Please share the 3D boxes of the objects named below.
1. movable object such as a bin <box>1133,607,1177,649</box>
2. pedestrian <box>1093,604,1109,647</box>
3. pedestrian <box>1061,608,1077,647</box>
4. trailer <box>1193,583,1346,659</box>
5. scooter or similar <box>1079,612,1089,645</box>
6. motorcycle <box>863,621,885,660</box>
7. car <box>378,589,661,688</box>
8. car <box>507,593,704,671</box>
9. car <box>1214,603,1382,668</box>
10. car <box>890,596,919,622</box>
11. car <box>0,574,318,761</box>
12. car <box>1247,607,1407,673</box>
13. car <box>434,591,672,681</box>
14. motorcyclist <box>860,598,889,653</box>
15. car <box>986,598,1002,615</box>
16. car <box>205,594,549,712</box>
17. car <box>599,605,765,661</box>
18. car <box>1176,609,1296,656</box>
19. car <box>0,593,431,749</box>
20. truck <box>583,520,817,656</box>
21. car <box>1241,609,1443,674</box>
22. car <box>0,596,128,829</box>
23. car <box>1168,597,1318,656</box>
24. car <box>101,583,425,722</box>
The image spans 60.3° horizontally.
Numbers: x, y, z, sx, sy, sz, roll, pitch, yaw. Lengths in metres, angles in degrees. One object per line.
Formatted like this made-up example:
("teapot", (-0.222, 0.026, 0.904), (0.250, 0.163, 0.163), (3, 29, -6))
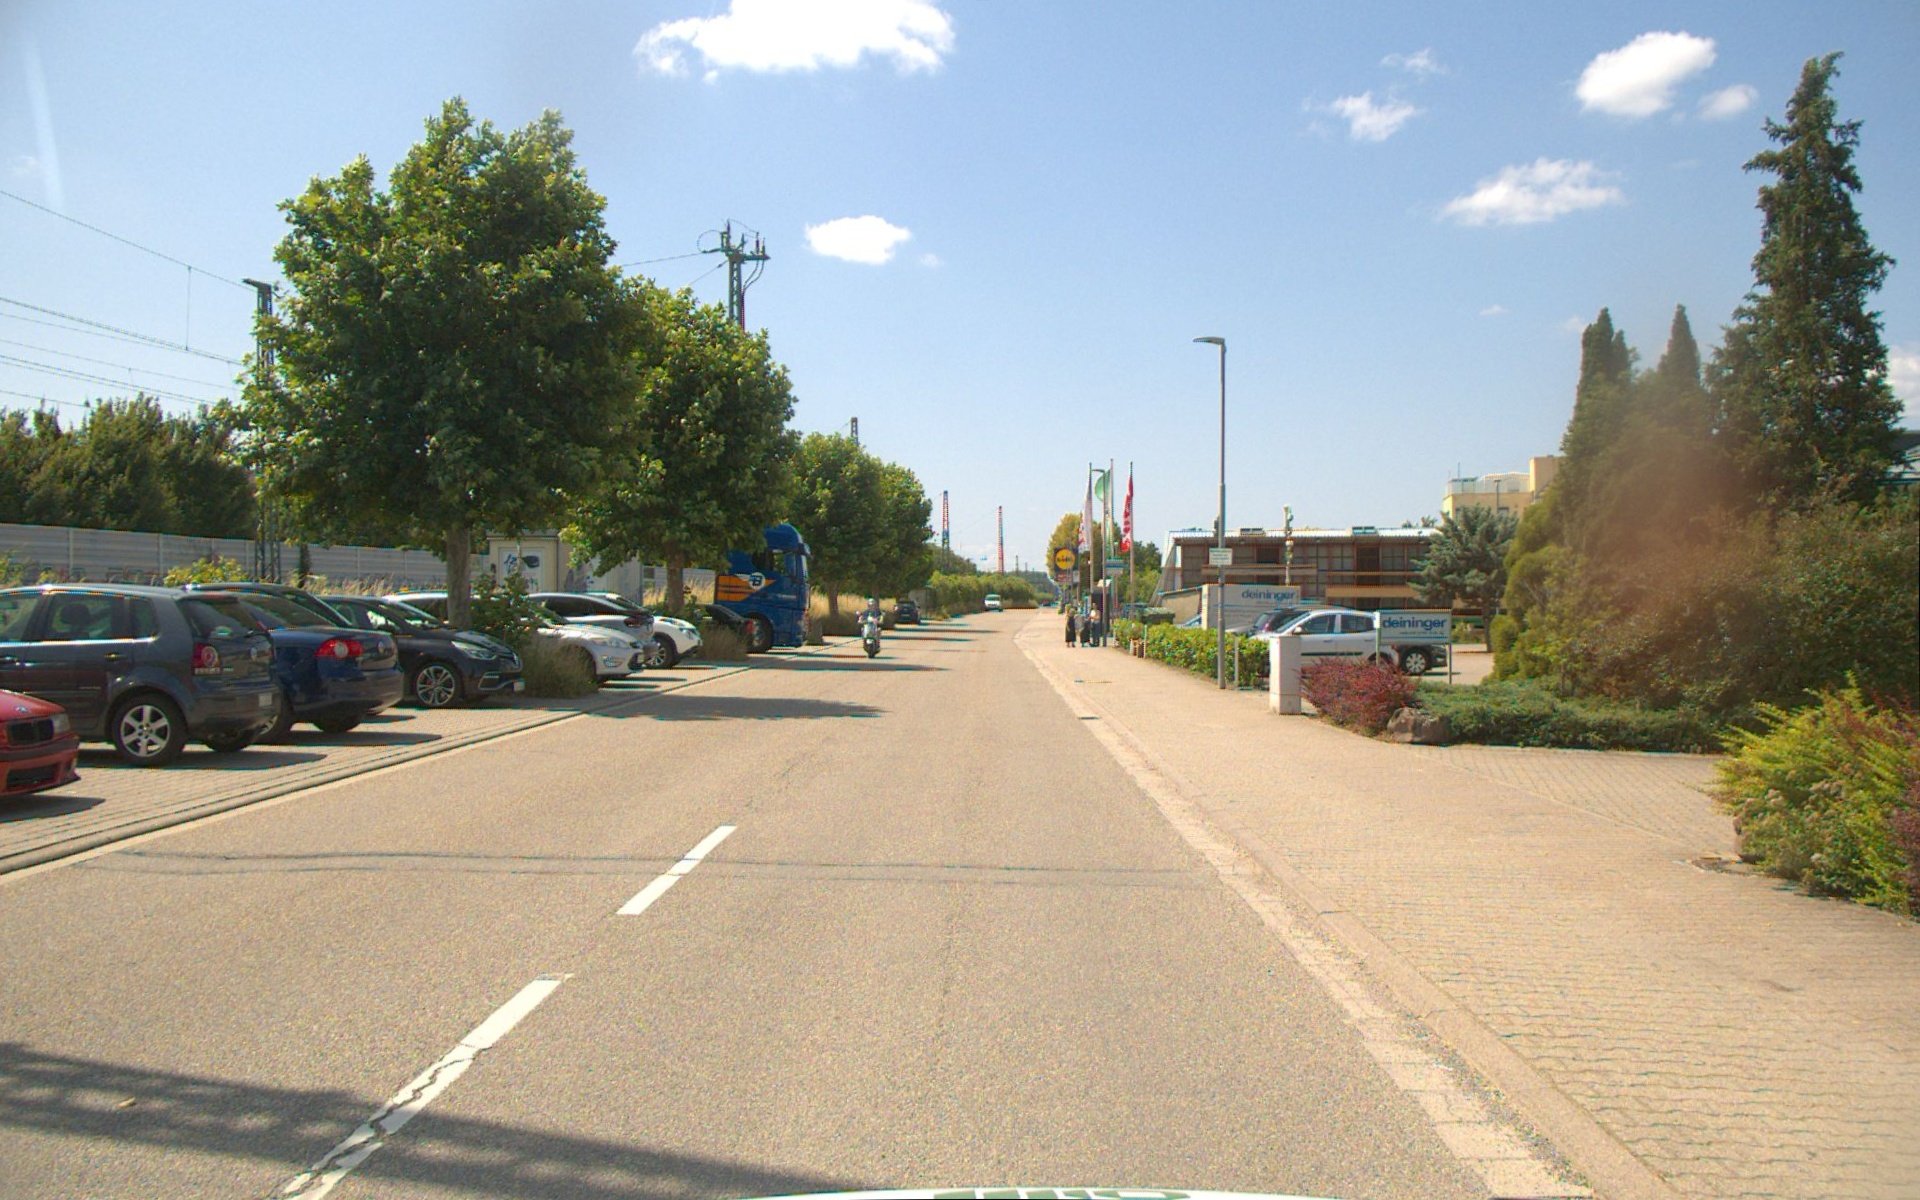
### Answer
("movable object such as a bin", (7.211, 1.032, 61.108), (1.253, 1.484, 1.036), (2, 0, -36))
("pedestrian", (5.220, 0.961, 61.288), (0.524, 1.567, 0.510), (-1, -2, 0))
("pedestrian", (4.046, 1.021, 61.470), (0.553, 1.430, 0.584), (-1, -2, 0))
("trailer", (8.528, 0.578, 45.822), (3.904, 2.049, 2.000), (0, 0, 1))
("scooter or similar", (4.597, 1.053, 61.454), (0.327, 1.219, 0.398), (-1, -2, 2))
("motorcycle", (-2.441, 1.138, 47.036), (0.453, 1.069, 1.955), (1, -1, 2))
("car", (-7.396, 0.631, 28.063), (4.248, 1.560, 1.926), (1, 0, 1))
("car", (-7.635, 0.676, 35.889), (3.890, 1.646, 1.850), (0, 0, -2))
("car", (8.766, 0.934, 43.043), (3.954, 1.602, 1.712), (-1, -2, -4))
("car", (-3.593, 0.583, 107.312), (1.705, 1.624, 3.580), (1, 0, 1))
("car", (-7.715, 0.529, 14.342), (3.591, 1.473, 1.684), (2, 0, -1))
("car", (8.187, 0.883, 37.134), (3.282, 1.426, 1.770), (-1, 0, 4))
("car", (-7.489, 0.653, 30.738), (3.906, 1.575, 2.000), (1, -1, -1))
("motorcyclist", (-2.434, 0.729, 47.187), (0.759, 1.535, 0.921), (1, -1, 1))
("car", (3.886, 0.702, 190.137), (1.800, 1.890, 4.485), (1, 0, 2))
("car", (-7.782, 0.693, 22.322), (3.988, 1.498, 1.787), (0, 0, 1))
("car", (-7.388, 0.864, 44.216), (4.123, 1.419, 1.871), (1, 0, -1))
("car", (9.259, 1.085, 55.733), (3.765, 1.481, 1.818), (1, 0, 2))
("car", (-7.603, 0.680, 16.771), (3.861, 1.476, 1.788), (0, 0, 5))
("truck", (-7.553, -0.345, 48.674), (6.479, 3.890, 2.664), (0, 0, -1))
("car", (9.094, 0.979, 39.607), (4.384, 1.465, 1.814), (1, 0, -2))
("car", (-7.877, 0.670, 10.846), (3.988, 1.392, 1.674), (1, 1, 1))
("car", (8.352, 0.804, 49.126), (4.126, 1.662, 1.800), (-1, -2, 0))
("car", (-8.148, 0.602, 19.522), (3.123, 1.565, 1.602), (0, -1, -1))
